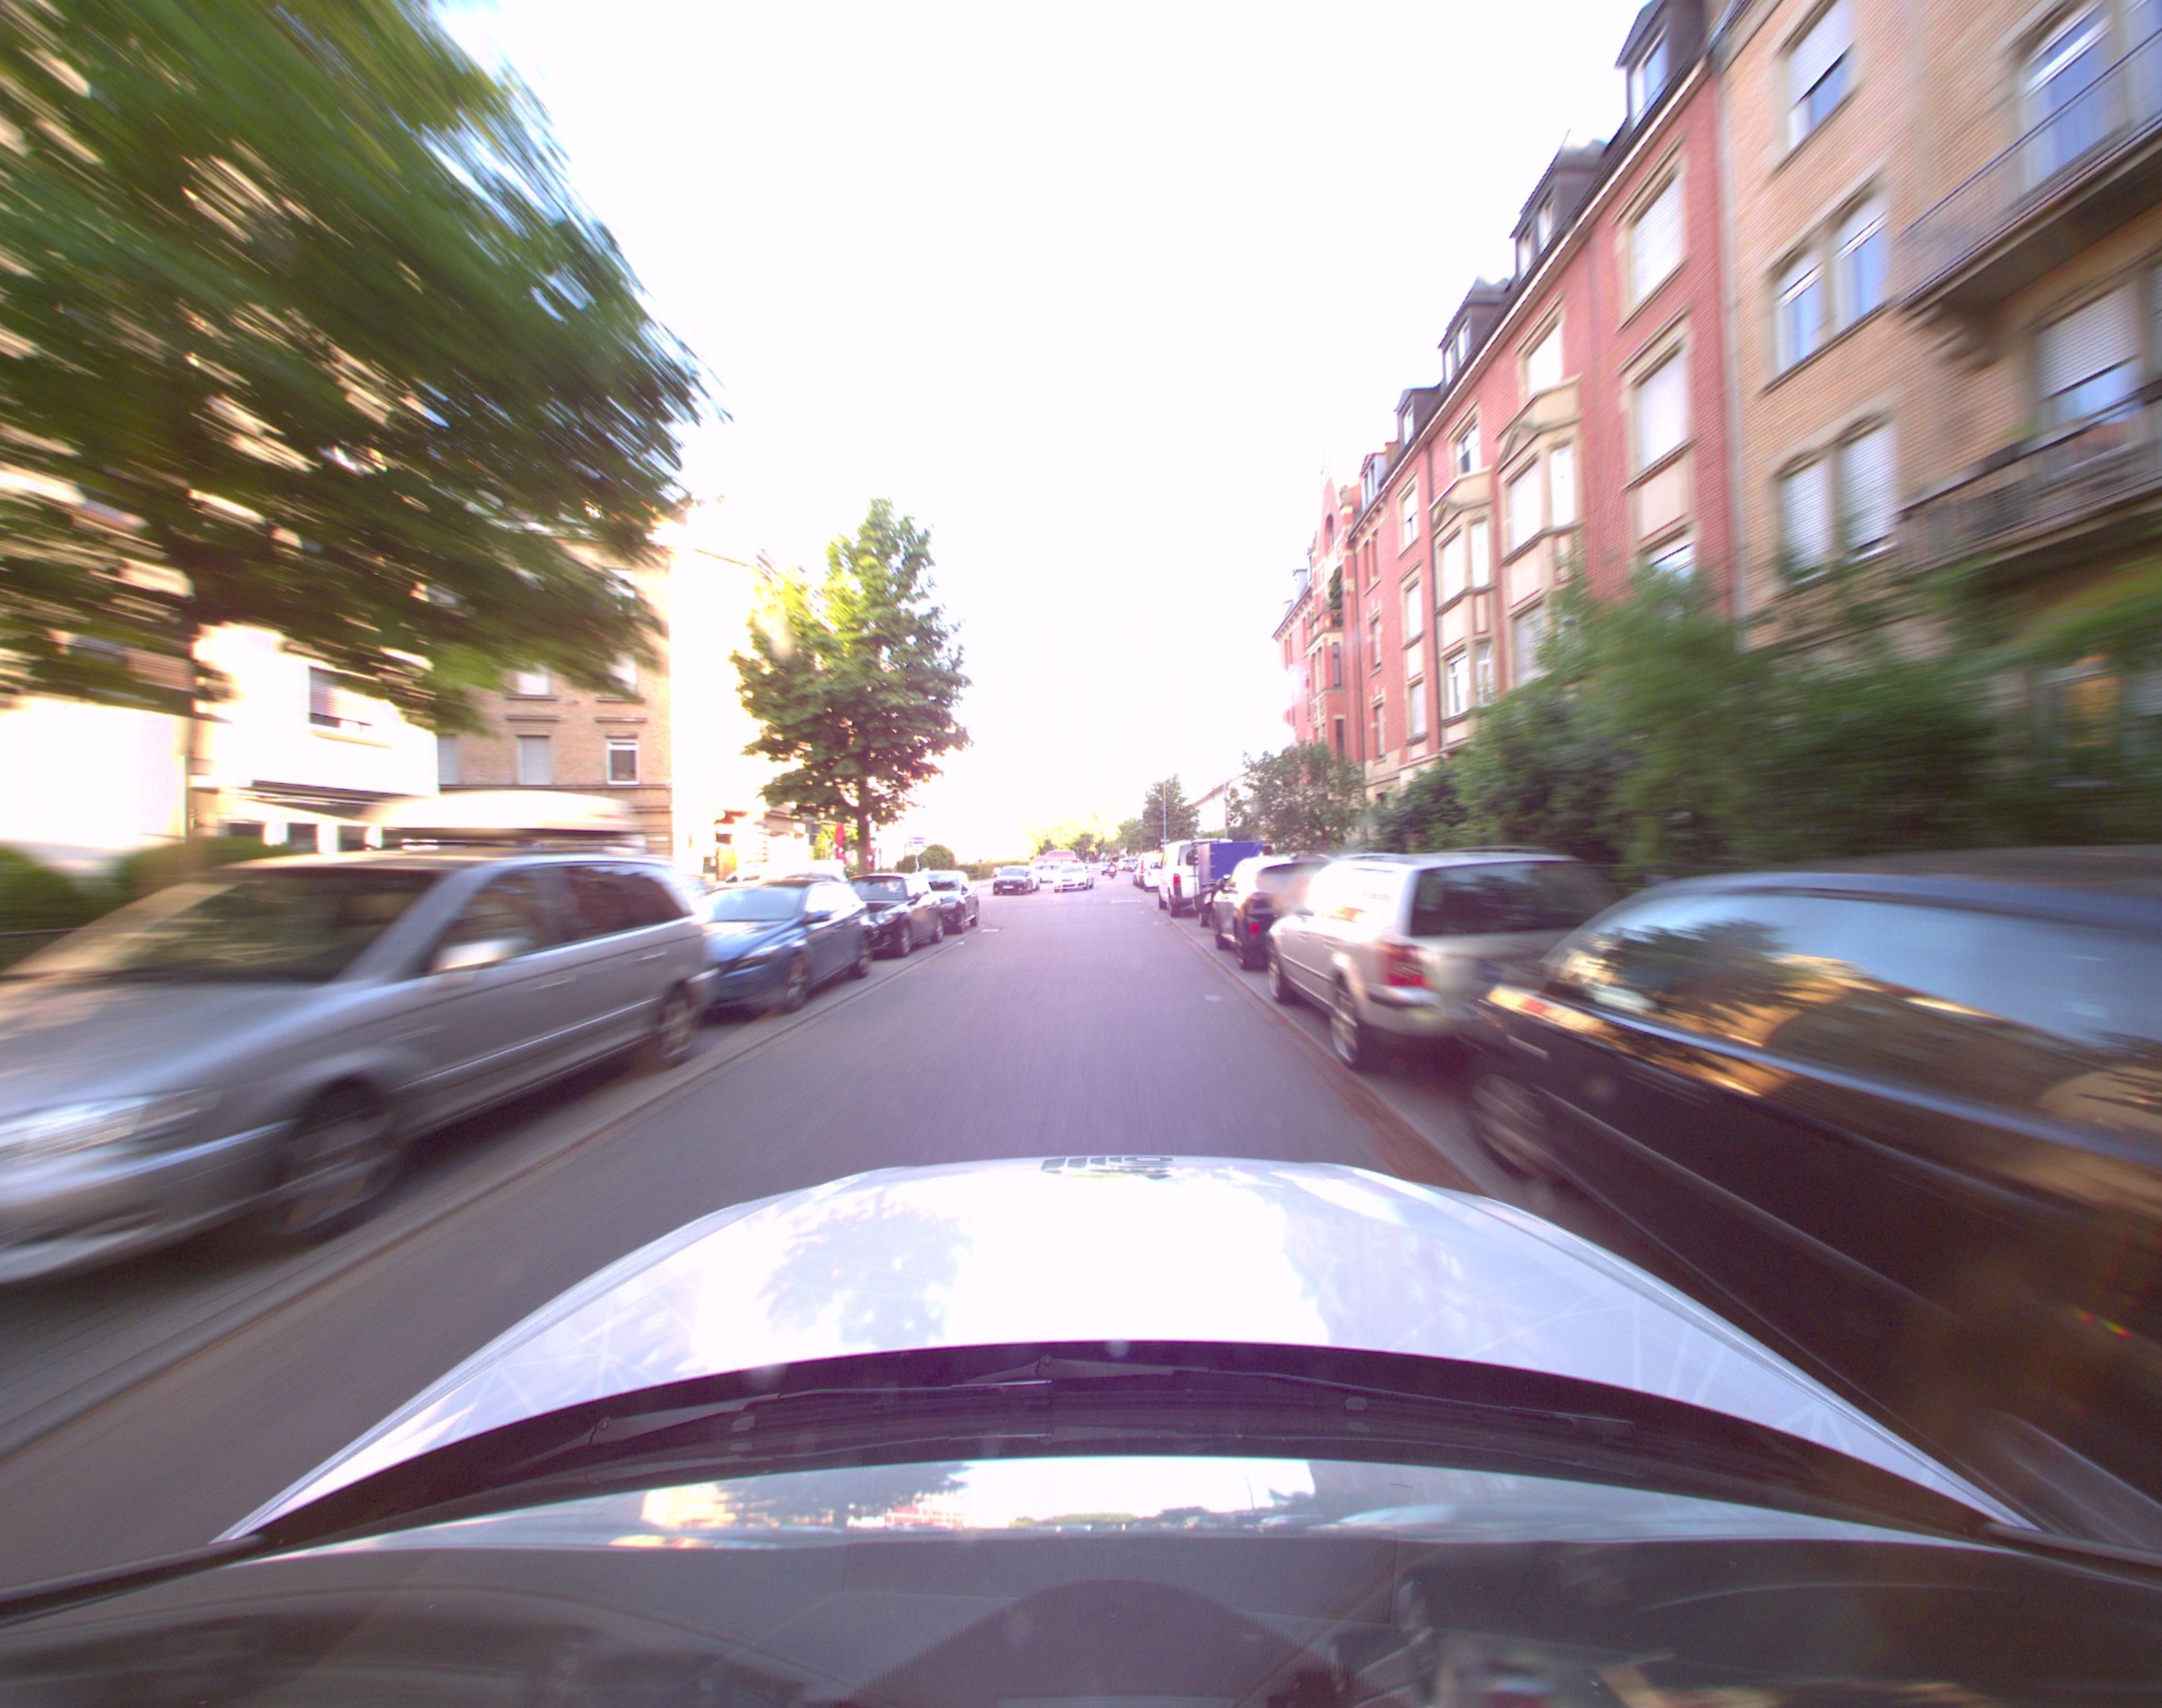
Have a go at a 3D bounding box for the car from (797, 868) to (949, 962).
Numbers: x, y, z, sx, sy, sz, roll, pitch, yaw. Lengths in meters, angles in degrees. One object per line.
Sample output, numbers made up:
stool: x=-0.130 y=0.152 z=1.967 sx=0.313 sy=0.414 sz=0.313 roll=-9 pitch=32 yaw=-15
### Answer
car: x=-3.707 y=1.034 z=15.175 sx=1.709 sy=1.441 sz=3.633 roll=-2 pitch=0 yaw=2

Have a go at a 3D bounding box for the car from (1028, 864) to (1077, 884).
car: x=-2.187 y=1.524 z=62.634 sx=3.609 sy=1.461 sz=1.605 roll=-2 pitch=0 yaw=-3

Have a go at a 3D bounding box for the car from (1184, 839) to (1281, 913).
car: x=3.445 y=0.494 z=19.040 sx=1.534 sy=1.521 sz=3.430 roll=-2 pitch=-1 yaw=-1

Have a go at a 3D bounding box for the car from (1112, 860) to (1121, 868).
car: x=7.022 y=2.002 z=161.817 sx=1.709 sy=1.596 sz=3.484 roll=-2 pitch=0 yaw=2

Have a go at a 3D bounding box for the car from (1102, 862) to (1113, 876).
car: x=3.343 y=1.906 z=102.891 sx=1.427 sy=1.596 sz=3.484 roll=-2 pitch=0 yaw=2

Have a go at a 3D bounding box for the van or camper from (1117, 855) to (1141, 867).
van or camper: x=11.008 y=1.591 z=187.445 sx=5.263 sy=2.791 sz=1.547 roll=-2 pitch=0 yaw=-10

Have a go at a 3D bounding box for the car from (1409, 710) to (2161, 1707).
car: x=2.558 y=0.590 z=2.688 sx=1.678 sy=1.606 sz=3.946 roll=-2 pitch=-1 yaw=6

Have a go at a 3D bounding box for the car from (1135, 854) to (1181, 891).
car: x=3.600 y=0.850 z=38.567 sx=1.682 sy=1.606 sz=3.938 roll=-2 pitch=-1 yaw=-1

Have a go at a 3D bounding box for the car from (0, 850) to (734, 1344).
car: x=-3.991 y=0.823 z=4.920 sx=1.709 sy=1.596 sz=4.520 roll=-2 pitch=0 yaw=2

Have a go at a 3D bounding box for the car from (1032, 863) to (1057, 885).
car: x=-2.626 y=1.426 z=59.661 sx=1.711 sy=1.441 sz=3.628 roll=-2 pitch=0 yaw=-2

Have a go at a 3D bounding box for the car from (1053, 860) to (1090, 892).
car: x=-0.463 y=1.174 z=44.274 sx=1.806 sy=1.596 sz=3.484 roll=-2 pitch=0 yaw=1

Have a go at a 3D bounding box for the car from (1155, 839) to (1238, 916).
car: x=3.132 y=0.622 z=22.800 sx=1.675 sy=1.941 sz=3.878 roll=-2 pitch=-1 yaw=-1

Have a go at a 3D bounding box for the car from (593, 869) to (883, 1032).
car: x=-3.838 y=0.983 z=9.940 sx=1.709 sy=1.465 sz=3.988 roll=-2 pitch=0 yaw=2

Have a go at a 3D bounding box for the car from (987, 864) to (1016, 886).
car: x=-5.517 y=1.465 z=57.045 sx=1.711 sy=1.441 sz=3.628 roll=-2 pitch=-1 yaw=-2

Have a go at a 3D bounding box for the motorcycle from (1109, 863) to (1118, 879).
motorcycle: x=2.996 y=1.560 z=75.223 sx=0.739 sy=1.251 sz=3.379 roll=-2 pitch=1 yaw=2

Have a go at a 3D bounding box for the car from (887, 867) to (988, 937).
car: x=-3.423 y=1.103 z=20.085 sx=1.593 sy=1.441 sz=3.840 roll=-2 pitch=0 yaw=2

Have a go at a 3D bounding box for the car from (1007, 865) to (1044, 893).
car: x=-3.217 y=1.445 z=47.966 sx=1.709 sy=1.441 sz=3.633 roll=-2 pitch=0 yaw=2

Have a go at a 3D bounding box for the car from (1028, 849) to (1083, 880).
car: x=-2.026 y=0.809 z=65.426 sx=4.336 sy=2.318 sz=1.745 roll=-2 pitch=0 yaw=0

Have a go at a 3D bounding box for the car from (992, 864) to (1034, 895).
car: x=-3.519 y=1.310 z=42.608 sx=1.709 sy=1.486 sz=3.632 roll=-2 pitch=-1 yaw=2

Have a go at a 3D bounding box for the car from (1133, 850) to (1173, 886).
car: x=3.782 y=0.731 z=43.352 sx=1.682 sy=1.811 sz=3.938 roll=-2 pitch=-1 yaw=-1

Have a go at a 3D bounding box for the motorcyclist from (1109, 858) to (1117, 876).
motorcyclist: x=2.951 y=1.215 z=75.148 sx=0.699 sy=1.630 sz=0.822 roll=-2 pitch=-1 yaw=1

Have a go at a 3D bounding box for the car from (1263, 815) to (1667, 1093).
car: x=2.704 y=0.621 z=6.796 sx=1.679 sy=1.606 sz=3.943 roll=-2 pitch=-1 yaw=4
